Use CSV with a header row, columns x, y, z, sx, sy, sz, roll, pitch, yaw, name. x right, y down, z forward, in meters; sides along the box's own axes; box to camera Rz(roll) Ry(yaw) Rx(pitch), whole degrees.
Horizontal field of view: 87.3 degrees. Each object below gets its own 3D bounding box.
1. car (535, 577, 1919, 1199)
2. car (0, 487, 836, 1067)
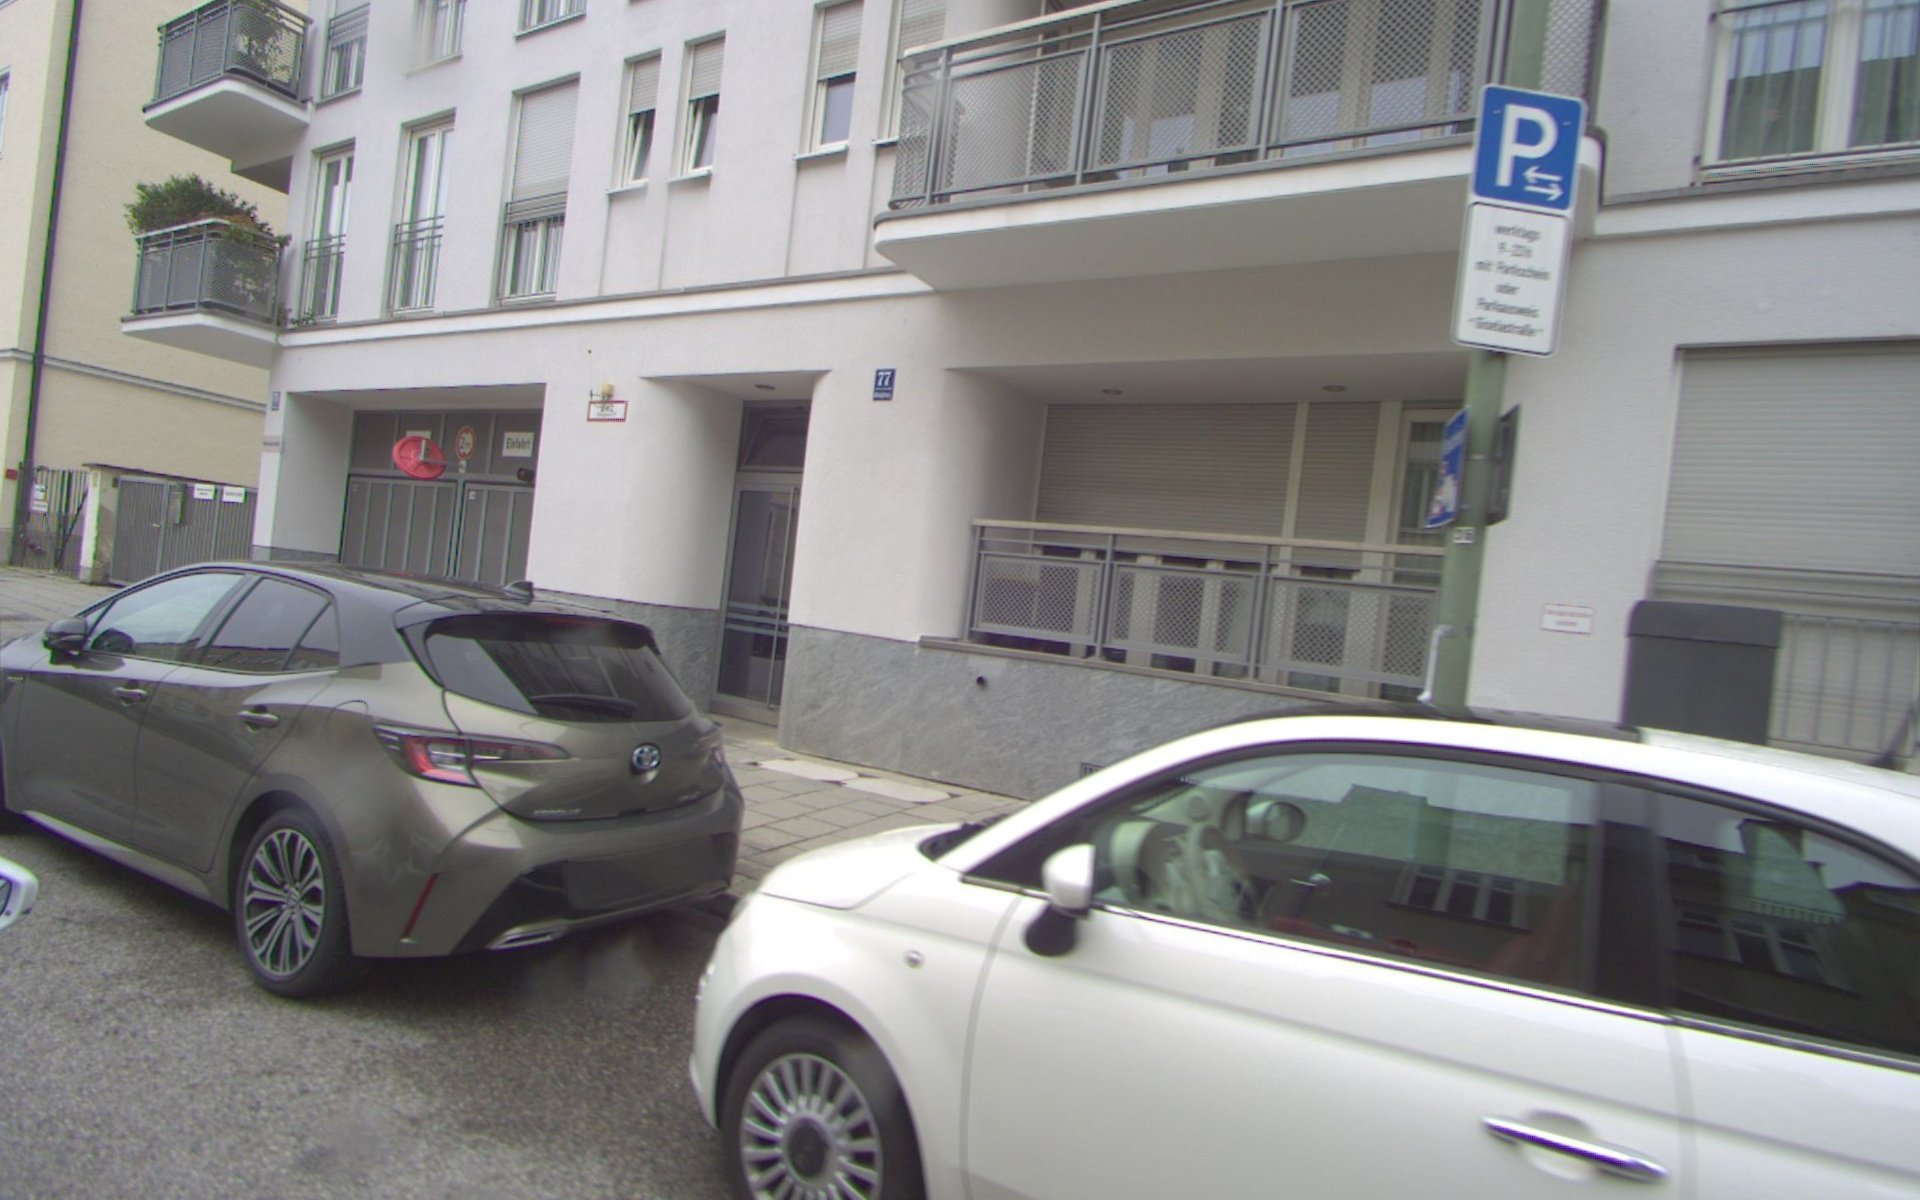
x,y,z,sx,sy,sz,roll,pitch,yaw,name
0.908,0.938,2.454,3.684,1.484,1.620,7,-1,32,car
-2.851,0.442,4.660,4.145,1.493,1.775,7,0,29,car
